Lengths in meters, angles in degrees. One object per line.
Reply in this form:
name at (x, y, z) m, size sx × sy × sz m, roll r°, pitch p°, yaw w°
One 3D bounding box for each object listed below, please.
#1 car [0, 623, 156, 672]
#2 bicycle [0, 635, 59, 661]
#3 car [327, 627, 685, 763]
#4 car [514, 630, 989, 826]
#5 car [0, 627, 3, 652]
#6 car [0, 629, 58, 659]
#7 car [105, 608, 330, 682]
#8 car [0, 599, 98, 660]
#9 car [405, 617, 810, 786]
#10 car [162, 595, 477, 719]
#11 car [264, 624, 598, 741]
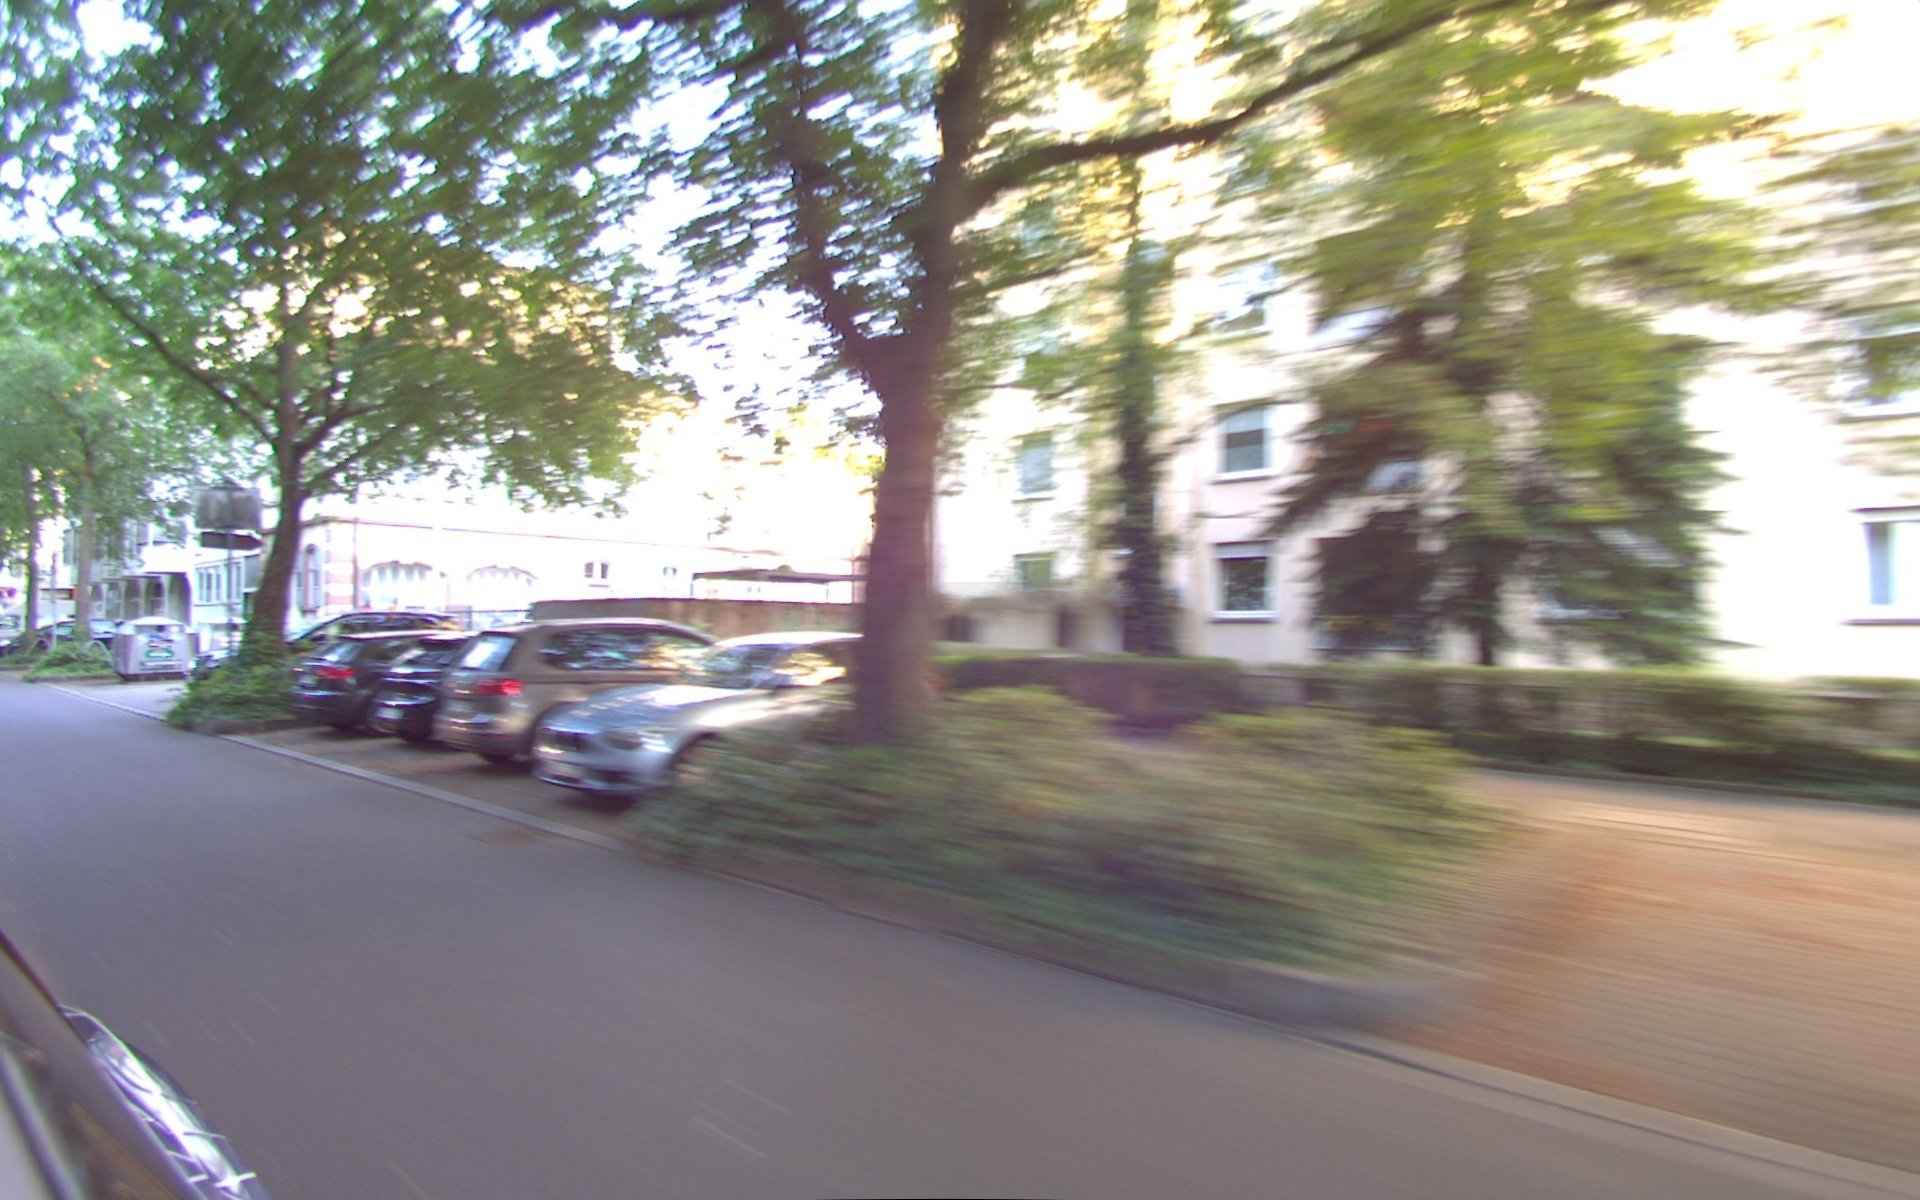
car at (-31.900, 1.643, 36.069) m, size 2.159 × 1.634 × 4.801 m, roll -2°, pitch -2°, yaw 42°
bicycle at (-31.108, 1.584, 33.732) m, size 0.613 × 0.837 × 1.535 m, roll -2°, pitch -2°, yaw 44°
car at (-5.830, 1.119, 13.399) m, size 1.823 × 1.502 × 3.948 m, roll -2°, pitch -2°, yaw 38°
car at (-1.779, 1.015, 9.774) m, size 1.878 × 1.440 × 4.243 m, roll -2°, pitch -2°, yaw 41°
car at (-63.055, 2.492, 63.285) m, size 1.870 × 1.537 × 4.462 m, roll -2°, pitch -2°, yaw 40°
car at (-47.297, 2.168, 49.809) m, size 1.952 × 1.480 × 4.124 m, roll -2°, pitch -2°, yaw 41°
car at (-19.536, 1.146, 26.789) m, size 1.998 × 1.785 × 4.460 m, roll -1°, pitch -2°, yaw 39°
car at (-41.181, 1.306, 44.326) m, size 2.120 × 2.592 × 4.951 m, roll -2°, pitch -2°, yaw 41°
car at (-3.894, 1.005, 11.568) m, size 3.940 × 1.577 × 1.931 m, roll 1°, pitch -2°, yaw -44°
car at (-11.506, 0.963, 18.462) m, size 1.998 × 1.970 × 4.460 m, roll -1°, pitch -2°, yaw 39°
car at (-7.648, 1.096, 14.938) m, size 1.920 × 1.475 × 3.947 m, roll -2°, pitch -2°, yaw 39°
